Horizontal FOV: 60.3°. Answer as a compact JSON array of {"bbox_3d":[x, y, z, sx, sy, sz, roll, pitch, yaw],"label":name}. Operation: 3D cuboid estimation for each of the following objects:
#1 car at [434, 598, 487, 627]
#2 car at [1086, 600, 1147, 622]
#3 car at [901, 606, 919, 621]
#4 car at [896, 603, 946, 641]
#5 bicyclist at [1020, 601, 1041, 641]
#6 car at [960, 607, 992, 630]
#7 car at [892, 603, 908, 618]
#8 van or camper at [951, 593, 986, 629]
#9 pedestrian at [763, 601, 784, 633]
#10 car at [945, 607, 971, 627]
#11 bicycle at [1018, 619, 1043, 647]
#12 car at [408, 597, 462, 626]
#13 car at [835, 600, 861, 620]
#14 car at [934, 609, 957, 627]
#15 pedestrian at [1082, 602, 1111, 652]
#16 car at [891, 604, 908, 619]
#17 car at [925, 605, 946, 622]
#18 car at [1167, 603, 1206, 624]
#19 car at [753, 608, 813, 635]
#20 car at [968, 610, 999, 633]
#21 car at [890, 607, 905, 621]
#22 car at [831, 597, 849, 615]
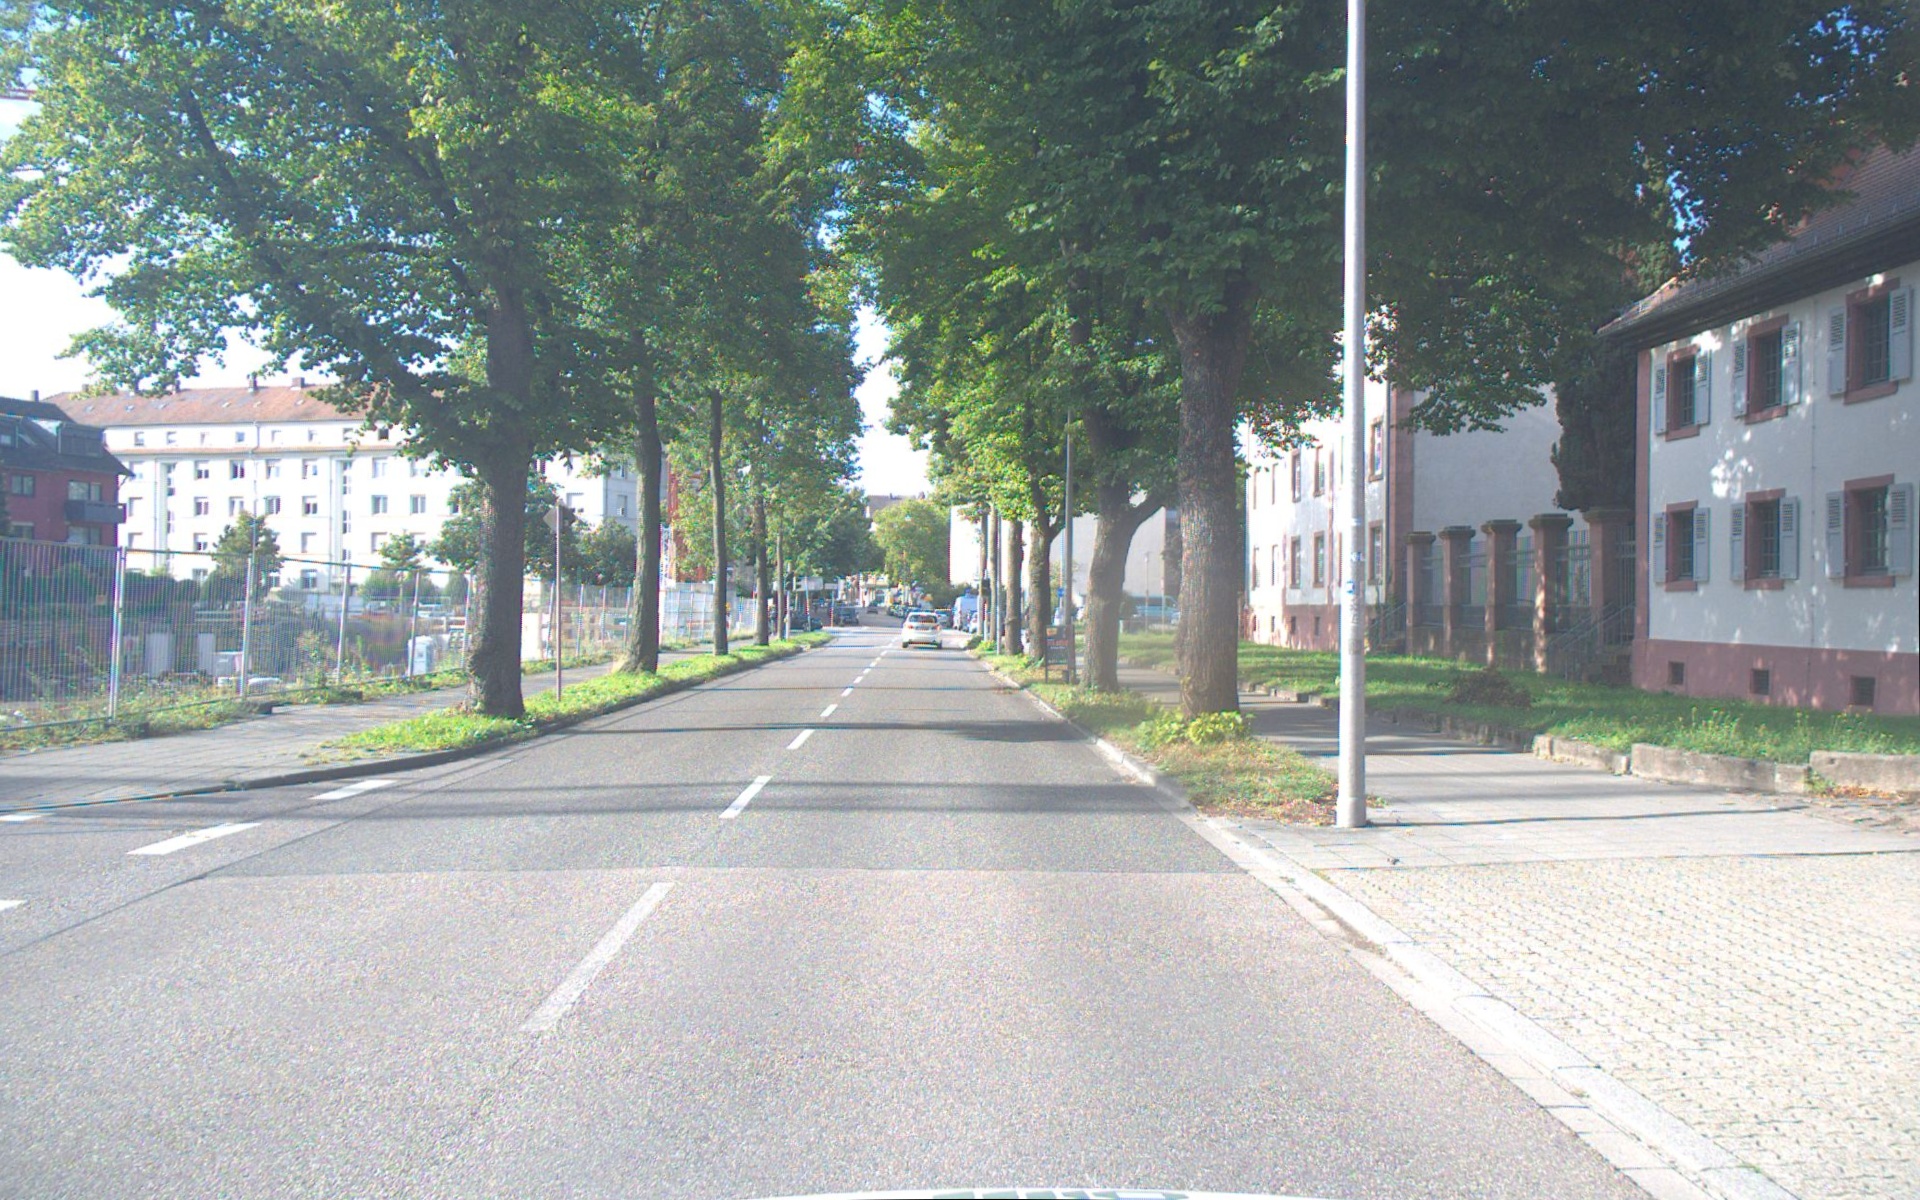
[{"bbox_3d":[-36.284,0.918,120.262,1.951,2.049,4.003,0,0,13],"label":"car"},{"bbox_3d":[11.518,0.810,122.092,4.356,1.650,2.000,0,0,2],"label":"car"},{"bbox_3d":[-5.620,1.537,185.264,1.953,1.601,3.998,0,0,-3],"label":"car"},{"bbox_3d":[-1.767,0.960,73.713,1.954,1.582,4.269,2,-1,-5],"label":"car"},{"bbox_3d":[2.746,0.827,64.752,0.722,1.540,0.874,-2,-1,-2],"label":"bicyclist"},{"bbox_3d":[1.144,1.336,120.474,1.954,1.644,4.403,0,0,-5],"label":"car"},{"bbox_3d":[-7.748,1.350,213.875,1.953,1.786,3.999,1,-1,-1],"label":"car"},{"bbox_3d":[0.604,0.829,126.495,2.166,2.653,5.365,0,0,-6],"label":"van or camper"},{"bbox_3d":[-10.230,0.934,90.920,0.990,1.758,1.174,1,-1,-14],"label":"pedestrian"},{"bbox_3d":[-0.204,1.367,137.396,1.953,1.601,3.998,0,0,-3],"label":"car"},{"bbox_3d":[2.754,1.291,64.730,0.725,1.053,2.761,-2,0,-2],"label":"bicycle"},{"bbox_3d":[-38.516,0.841,121.452,1.951,2.049,4.003,0,0,13],"label":"car"},{"bbox_3d":[-9.702,0.871,142.503,1.956,1.668,3.993,0,0,-8],"label":"car"},{"bbox_3d":[-1.328,1.590,147.914,1.953,1.601,3.998,0,0,-3],"label":"car"},{"bbox_3d":[4.480,0.881,54.404,0.797,1.618,0.769,-2,-1,-3],"label":"pedestrian"},{"bbox_3d":[-7.315,1.368,200.110,1.953,1.786,3.999,1,-1,-1],"label":"car"},{"bbox_3d":[-2.406,1.271,160.294,1.953,1.601,3.998,0,0,-3],"label":"car"},{"bbox_3d":[15.842,0.940,115.947,1.954,1.467,3.996,0,0,-4],"label":"car"},{"bbox_3d":[-11.241,1.372,105.261,1.955,1.598,3.996,1,0,26],"label":"car"},{"bbox_3d":[1.593,1.435,112.980,1.974,1.501,4.801,-1,-1,-1],"label":"car"},{"bbox_3d":[-8.842,1.986,234.511,1.953,1.786,3.999,1,-1,-1],"label":"car"},{"bbox_3d":[-13.740,0.636,188.973,1.953,2.049,3.998,0,0,-3],"label":"car"}]
